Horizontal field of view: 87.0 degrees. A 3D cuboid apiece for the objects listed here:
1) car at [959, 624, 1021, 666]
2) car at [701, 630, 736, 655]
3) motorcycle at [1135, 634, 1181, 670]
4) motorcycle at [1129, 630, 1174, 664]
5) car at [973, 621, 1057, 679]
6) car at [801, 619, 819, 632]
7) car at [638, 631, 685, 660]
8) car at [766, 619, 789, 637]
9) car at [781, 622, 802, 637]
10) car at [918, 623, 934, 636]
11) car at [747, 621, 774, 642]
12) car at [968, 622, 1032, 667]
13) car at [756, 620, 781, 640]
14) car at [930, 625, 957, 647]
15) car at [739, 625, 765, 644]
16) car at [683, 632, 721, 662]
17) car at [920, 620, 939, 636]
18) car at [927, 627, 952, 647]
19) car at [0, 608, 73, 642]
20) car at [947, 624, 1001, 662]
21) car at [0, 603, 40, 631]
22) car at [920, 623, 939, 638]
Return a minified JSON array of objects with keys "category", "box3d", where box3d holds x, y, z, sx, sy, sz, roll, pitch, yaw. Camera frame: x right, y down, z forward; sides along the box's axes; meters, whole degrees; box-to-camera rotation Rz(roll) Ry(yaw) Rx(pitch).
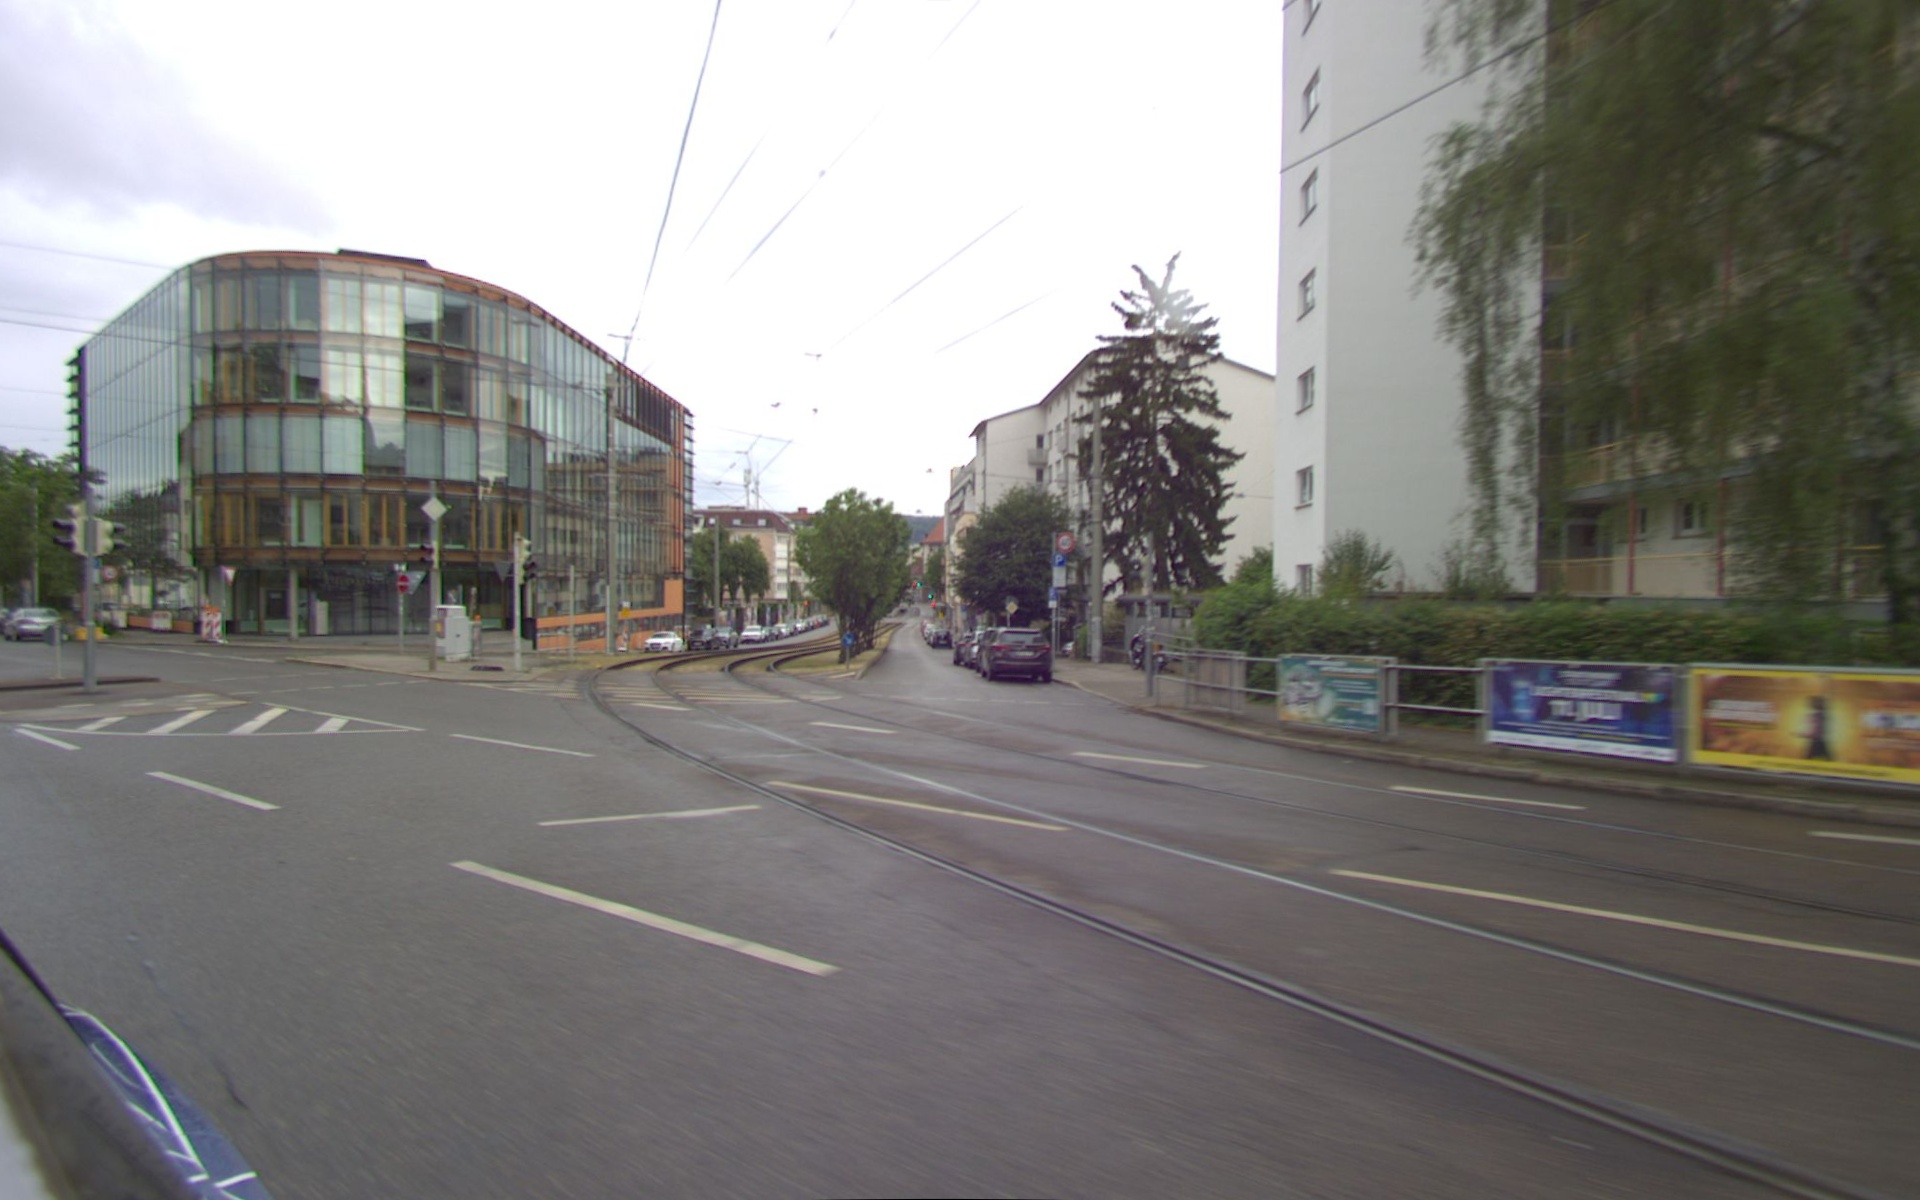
[{"category":"car","box3d":[1.104,1.716,39.119,1.970,1.519,4.315,-1,-2,-4]},{"category":"car","box3d":[-19.206,3.364,80.758,1.890,1.763,4.001,0,2,-1]},{"category":"motorcycle","box3d":[5.812,1.518,29.833,0.767,0.947,2.237,-2,0,-2]},{"category":"motorcycle","box3d":[6.179,1.495,32.504,0.894,0.947,2.216,1,0,25]},{"category":"car","box3d":[1.474,1.377,28.823,1.846,1.472,4.495,1,-2,-4]},{"category":"car","box3d":[-20.523,3.498,138.417,1.890,1.763,4.000,0,-2,-1]},{"category":"car","box3d":[-18.999,2.898,64.652,1.890,1.507,4.001,0,2,-1]},{"category":"car","box3d":[-19.924,3.077,110.779,1.890,1.763,4.001,0,2,-1]},{"category":"car","box3d":[-20.338,3.614,122.194,1.890,1.763,4.000,0,-3,-1]},{"category":"car","box3d":[-4.406,3.849,131.052,1.970,1.519,4.315,-1,-3,-4]},{"category":"car","box3d":[-19.610,3.092,99.700,1.890,1.763,4.001,0,2,-1]},{"category":"car","box3d":[1.281,1.466,33.477,1.783,1.403,2.895,0,-2,-4]},{"category":"car","box3d":[-19.834,3.075,105.135,1.890,1.763,4.001,0,2,-1]},{"category":"car","box3d":[-1.360,2.925,83.070,1.970,1.519,4.316,-1,1,-4]},{"category":"car","box3d":[-19.549,3.204,95.239,1.764,1.520,4.001,0,2,-1]},{"category":"car","box3d":[-19.157,3.450,75.379,1.890,1.907,4.001,0,2,-1]},{"category":"car","box3d":[-3.373,3.069,111.415,1.970,1.519,4.316,-1,1,-4]},{"category":"car","box3d":[-1.817,3.215,88.768,1.970,1.519,4.315,-1,0,-4]},{"category":"car","box3d":[-41.119,1.058,44.998,4.641,1.405,1.839,0,0,40]},{"category":"car","box3d":[0.553,1.930,44.267,1.970,1.519,4.315,-1,-3,-4]},{"category":"car","box3d":[-52.314,0.901,55.706,4.322,1.475,1.707,0,-1,37]},{"category":"car","box3d":[-3.511,3.530,116.931,1.970,1.519,4.704,-1,-3,-4]}]
